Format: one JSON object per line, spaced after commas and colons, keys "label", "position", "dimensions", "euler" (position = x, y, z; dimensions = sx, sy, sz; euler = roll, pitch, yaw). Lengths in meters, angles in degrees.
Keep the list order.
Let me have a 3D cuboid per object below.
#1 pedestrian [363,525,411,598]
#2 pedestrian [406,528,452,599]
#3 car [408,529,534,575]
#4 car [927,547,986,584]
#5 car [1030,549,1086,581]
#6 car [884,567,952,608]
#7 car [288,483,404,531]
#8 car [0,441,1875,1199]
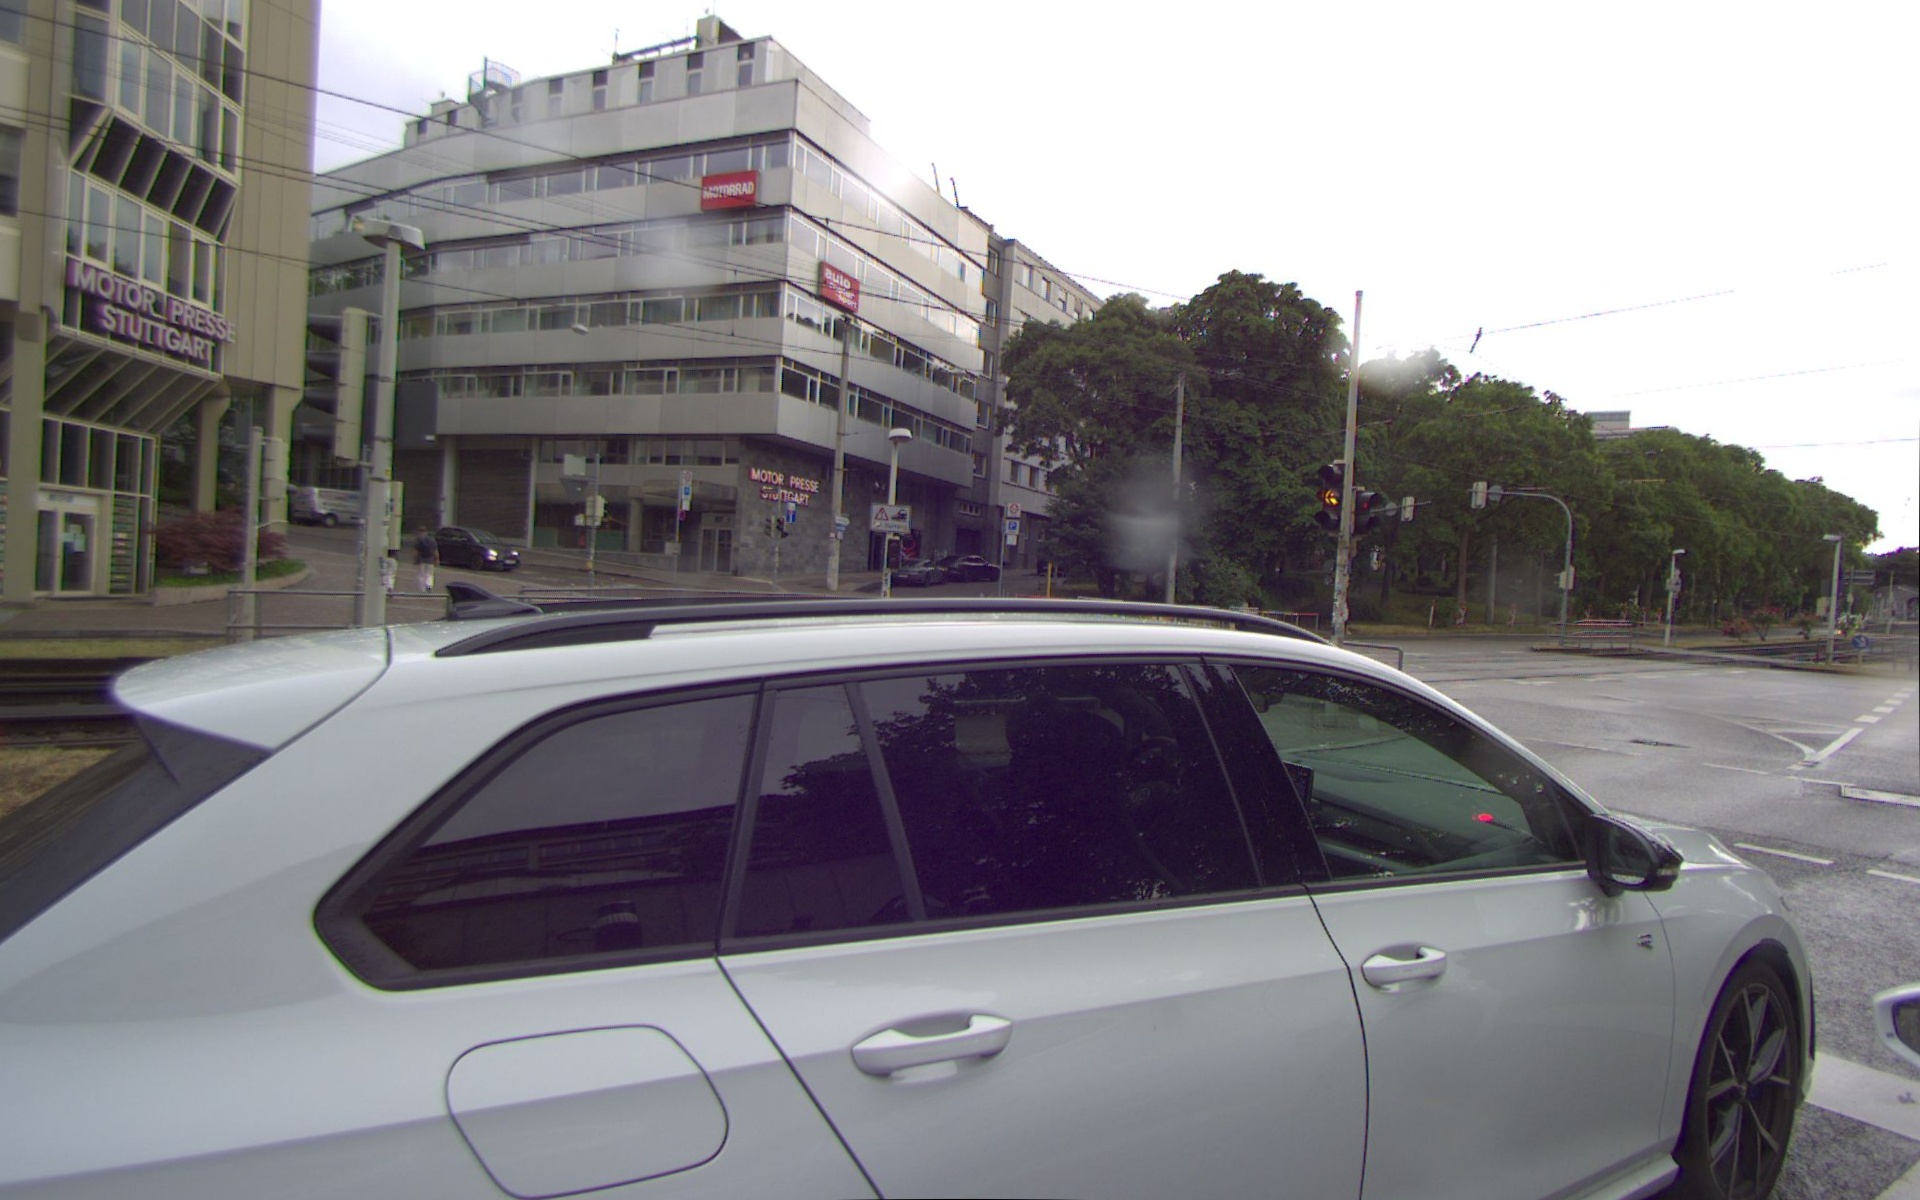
{"label": "pedestrian", "position": [-14.678, -0.982, 25.740], "dimensions": [0.630, 1.811, 0.808], "euler": [6, 3, 36]}
{"label": "pedestrian", "position": [-14.040, -0.968, 26.569], "dimensions": [0.630, 1.811, 0.808], "euler": [6, 3, 36]}
{"label": "car", "position": [-18.120, -1.771, 37.274], "dimensions": [3.920, 1.383, 1.830], "euler": [5, 2, 16]}
{"label": "car", "position": [-0.151, -1.949, 55.625], "dimensions": [1.961, 1.818, 3.998], "euler": [5, 5, 19]}
{"label": "car", "position": [6.444, -2.288, 65.909], "dimensions": [1.964, 1.818, 4.202], "euler": [6, 2, 30]}
{"label": "car", "position": [-2.055, -0.640, 50.765], "dimensions": [1.961, 1.818, 4.000], "euler": [5, 2, 19]}
{"label": "car", "position": [-32.102, -4.833, 52.654], "dimensions": [1.963, 2.040, 4.831], "euler": [5, 2, 26]}
{"label": "car", "position": [0.120, 0.689, 2.262], "dimensions": [4.203, 1.597, 1.670], "euler": [2, 1, -31]}
